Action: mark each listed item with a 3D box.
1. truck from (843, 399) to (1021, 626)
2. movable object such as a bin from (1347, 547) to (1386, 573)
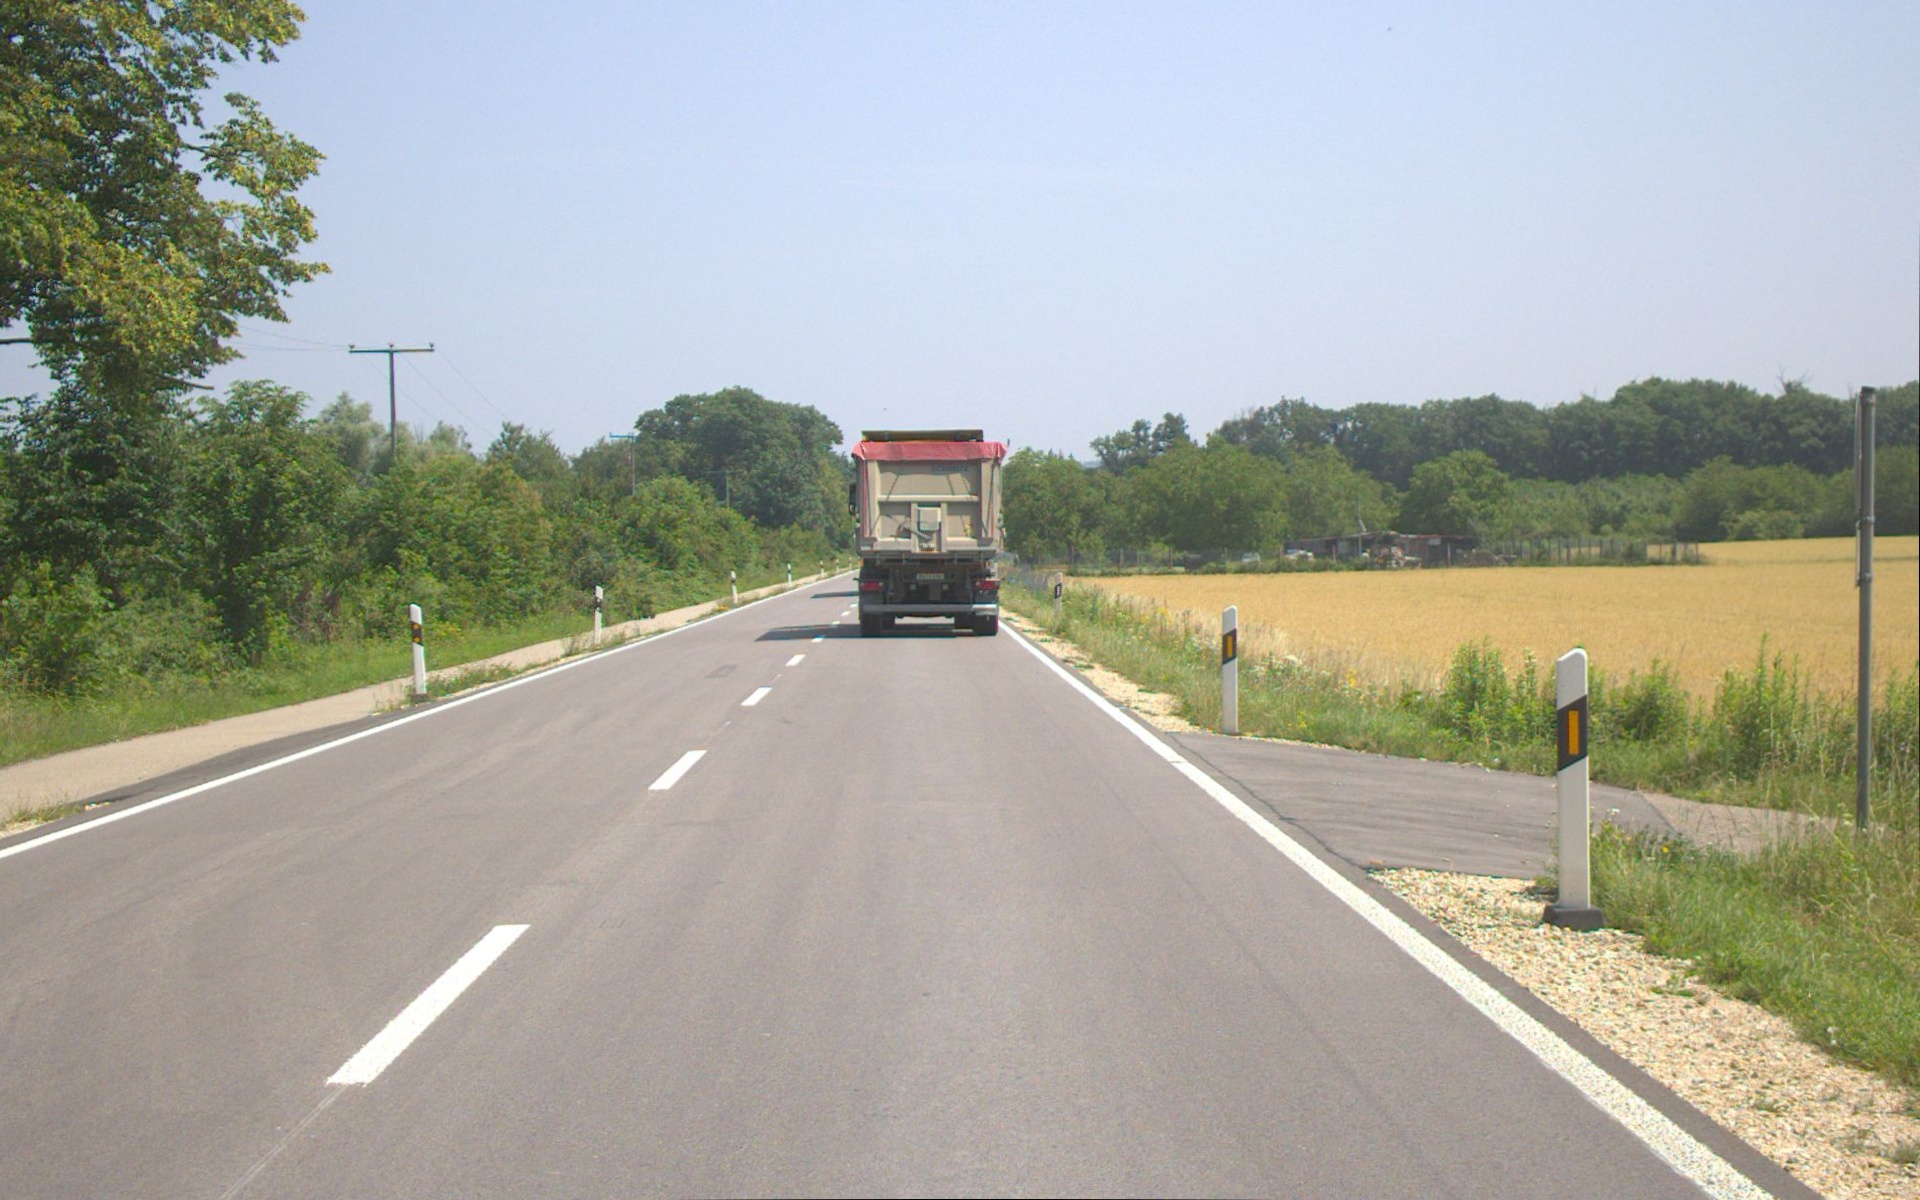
[{"bbox_3d":[-0.574,-1.563,65.142,3.009,3.861,12.210,1,1,-1],"label":"truck"},{"bbox_3d":[24.041,-2.376,203.331,1.570,1.491,3.659,-1,1,-5],"label":"movable object such as a bin"}]
